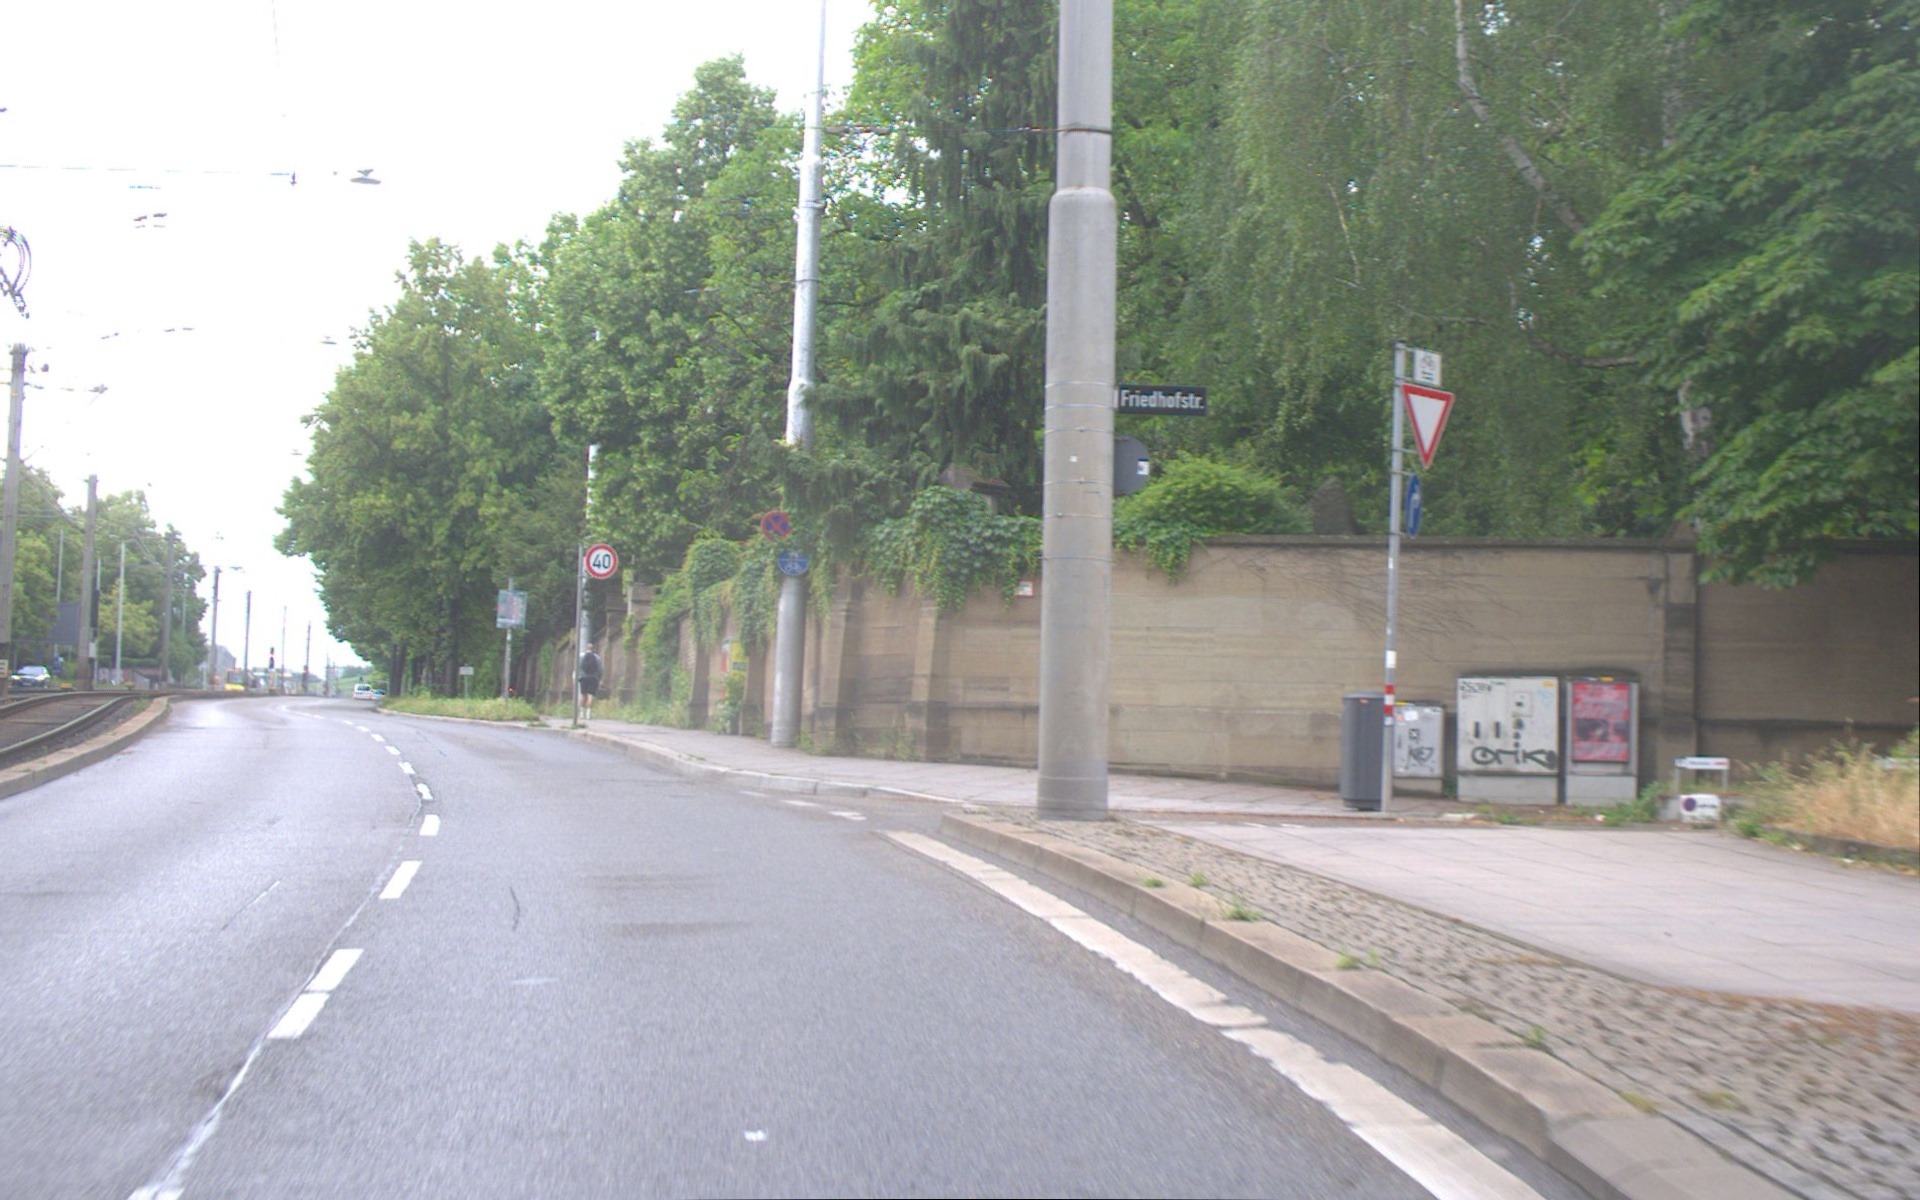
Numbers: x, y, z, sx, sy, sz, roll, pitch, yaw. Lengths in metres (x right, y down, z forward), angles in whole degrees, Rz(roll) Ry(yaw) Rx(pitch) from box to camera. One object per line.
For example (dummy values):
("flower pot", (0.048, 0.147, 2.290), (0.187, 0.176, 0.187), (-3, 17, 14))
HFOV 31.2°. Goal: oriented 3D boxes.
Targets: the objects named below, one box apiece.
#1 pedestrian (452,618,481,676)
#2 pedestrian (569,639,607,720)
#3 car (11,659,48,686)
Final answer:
("pedestrian", (-14.633, 1.393, 101.994), (0.719, 1.682, 0.729), (4, -2, -10))
("pedestrian", (-8.728, 1.862, 80.595), (0.719, 1.844, 0.783), (4, -2, -10))
("car", (-57.007, 4.436, 210.590), (1.794, 1.505, 3.849), (2, -1, -10))
